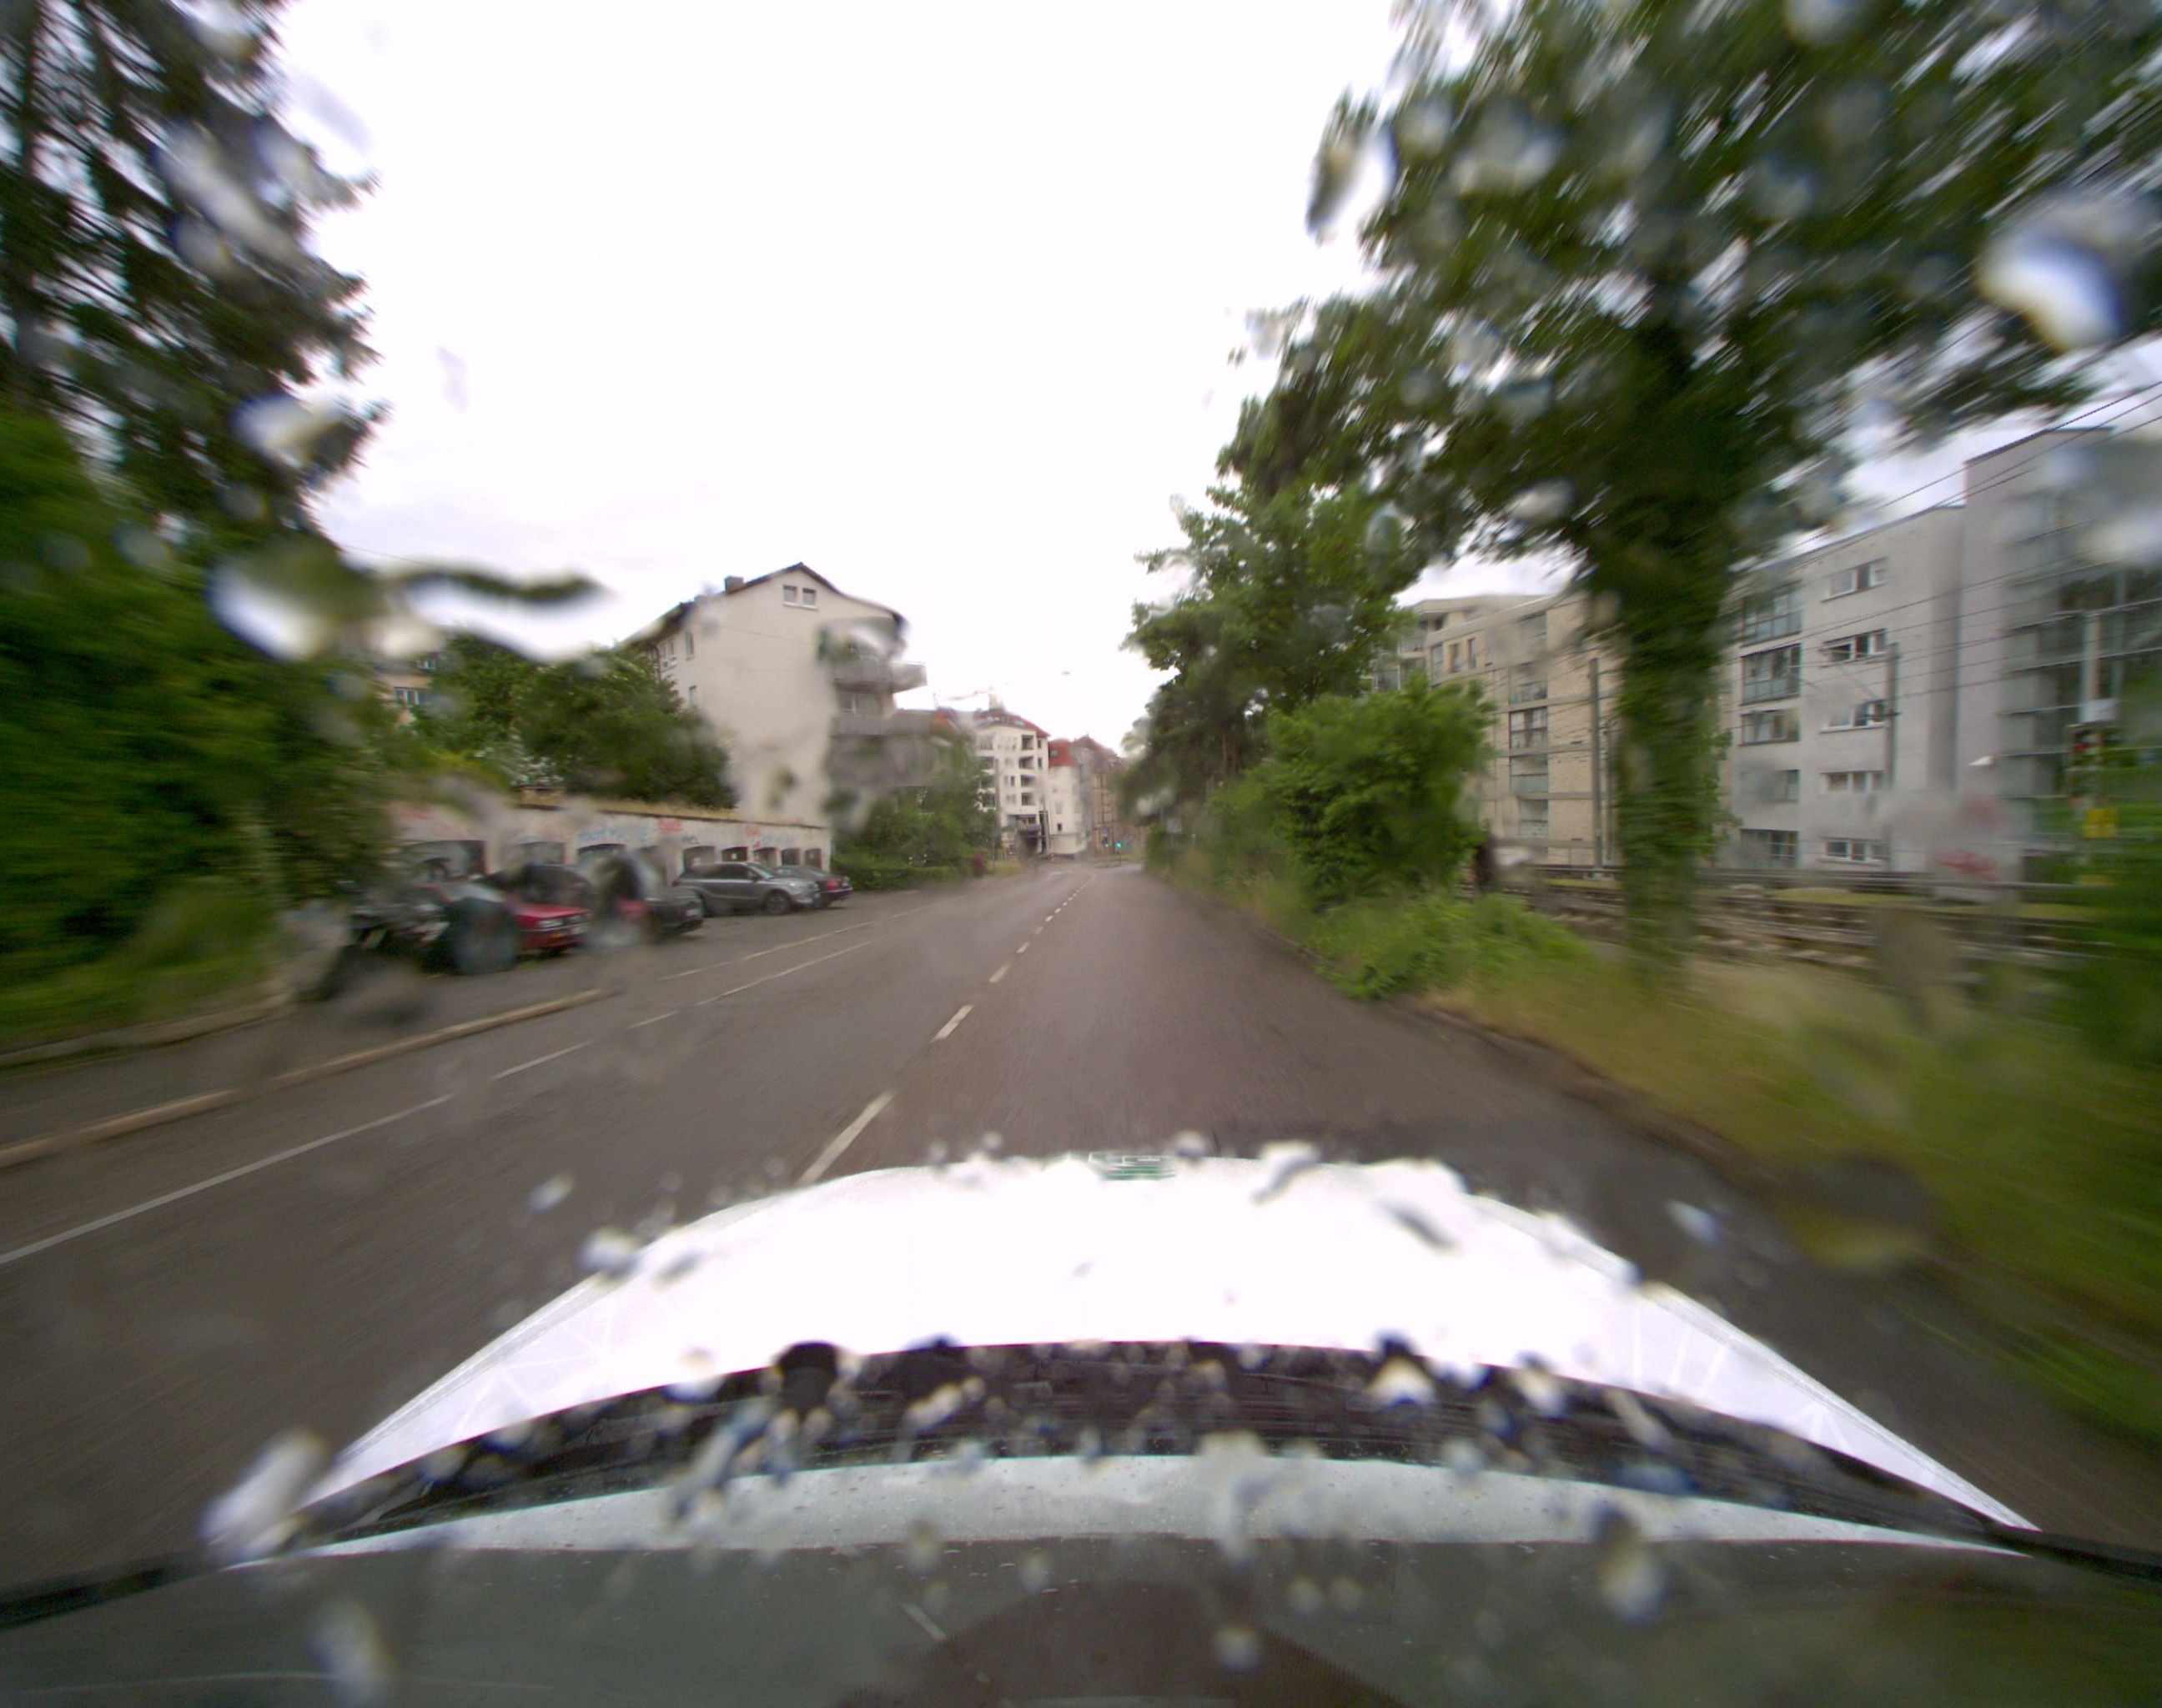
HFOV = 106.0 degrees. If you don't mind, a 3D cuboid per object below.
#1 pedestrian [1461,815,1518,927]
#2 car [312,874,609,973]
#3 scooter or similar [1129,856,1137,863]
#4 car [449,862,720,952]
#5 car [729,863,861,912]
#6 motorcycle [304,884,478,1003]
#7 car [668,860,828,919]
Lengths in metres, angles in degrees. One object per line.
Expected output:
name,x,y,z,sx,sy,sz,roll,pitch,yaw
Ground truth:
pedestrian,6.375,0.257,12.722,0.561,1.687,0.525,-2,0,1
car,-10.390,1.127,13.884,3.625,1.405,1.714,-2,-1,-5
scooter or similar,6.379,0.693,99.682,0.480,0.761,1.338,-3,0,30
car,-10.083,1.049,16.780,4.433,1.602,1.814,-2,-1,1
car,-9.309,1.076,26.702,3.616,1.407,1.785,-2,-1,3
motorcycle,-8.971,1.089,10.739,0.616,1.320,2.313,-2,-1,-9
car,-9.893,1.034,24.422,3.977,1.559,1.878,-2,-1,-3
